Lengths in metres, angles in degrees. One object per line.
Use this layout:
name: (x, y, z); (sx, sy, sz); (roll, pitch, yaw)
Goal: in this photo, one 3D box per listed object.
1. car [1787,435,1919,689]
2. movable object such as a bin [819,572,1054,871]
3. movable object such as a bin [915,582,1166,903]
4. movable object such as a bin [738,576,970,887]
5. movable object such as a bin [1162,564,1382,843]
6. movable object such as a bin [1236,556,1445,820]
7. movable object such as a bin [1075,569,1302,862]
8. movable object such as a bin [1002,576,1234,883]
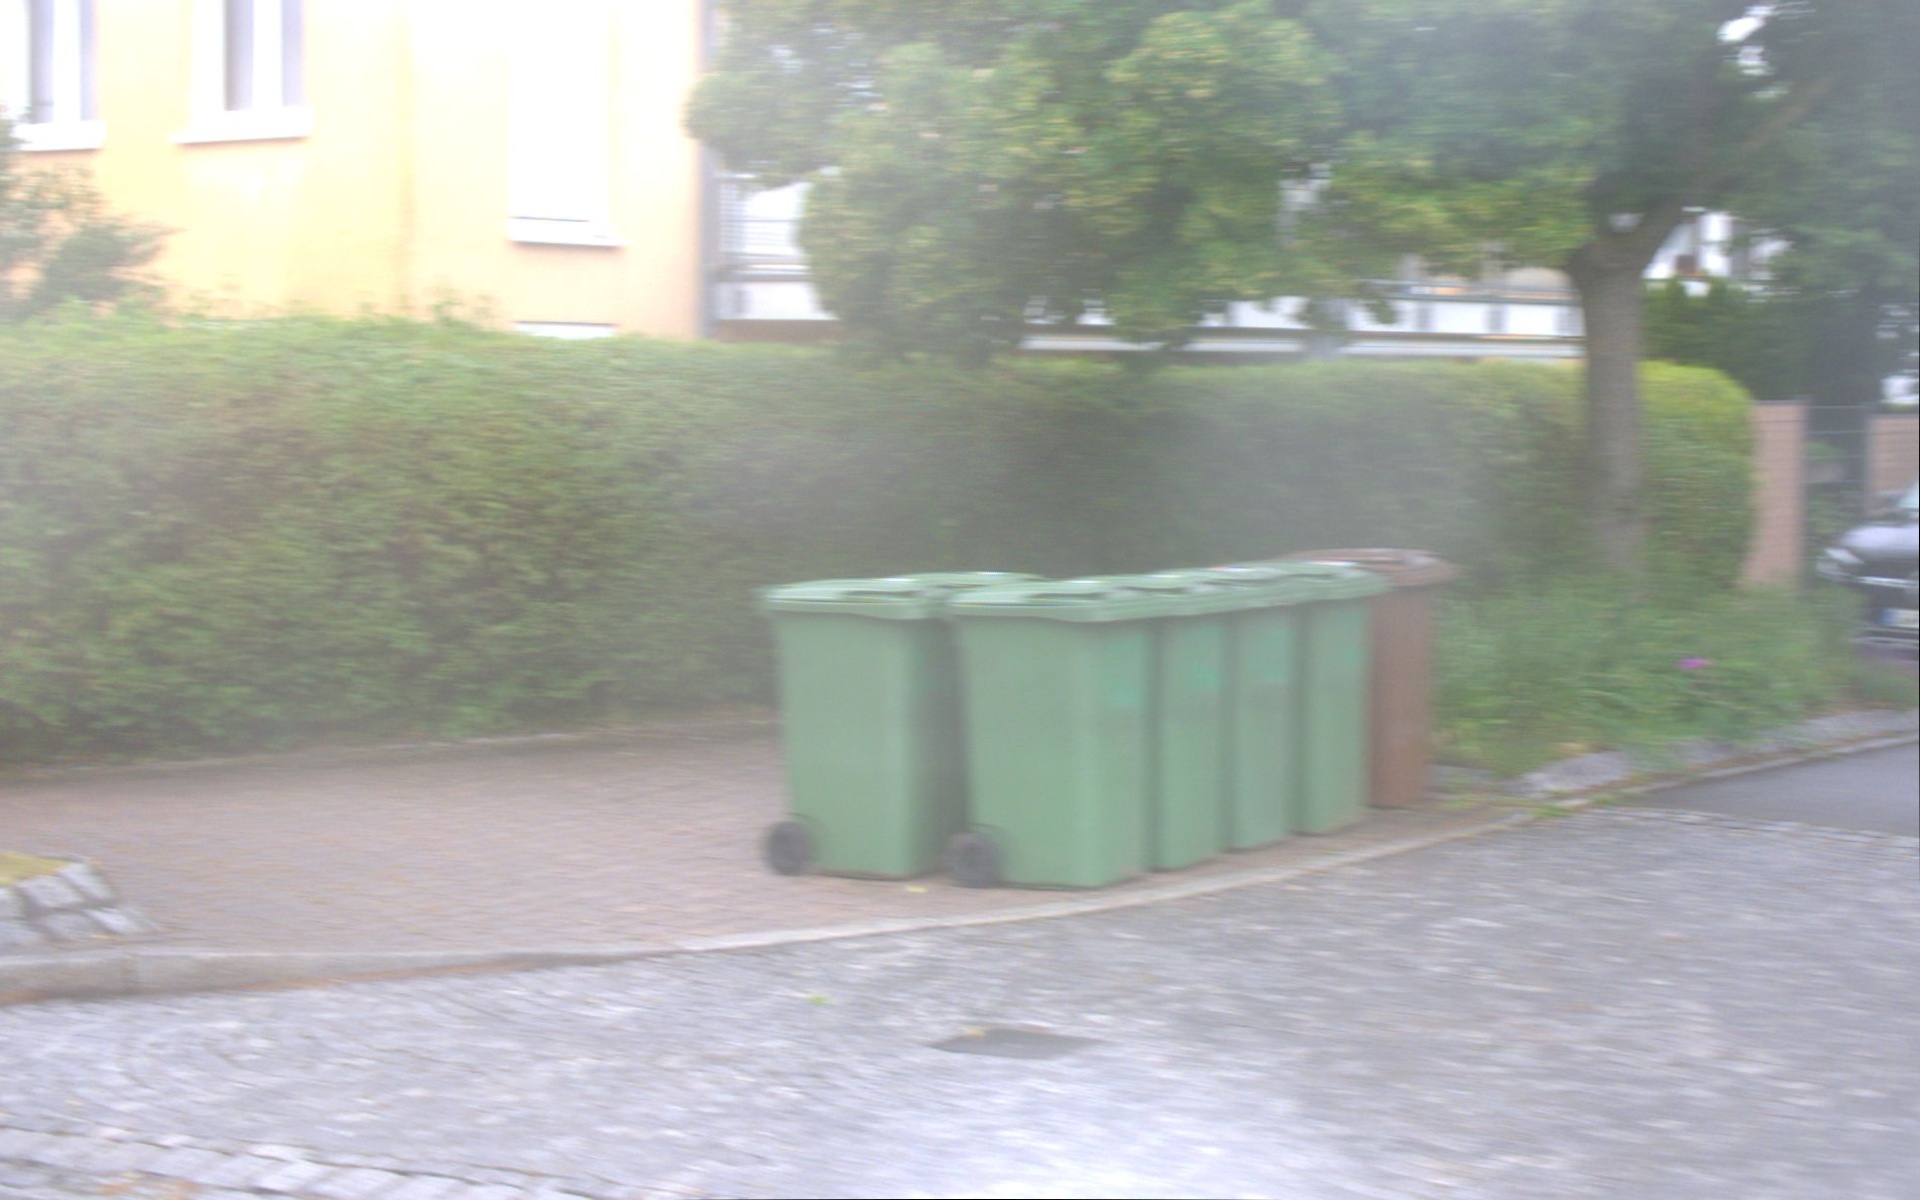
car: (7.118, -0.257, 22.621); (1.779, 1.513, 4.129); (5, 4, 35)
movable object such as a bin: (-0.086, 0.444, 13.096); (0.695, 1.068, 0.597); (2, 3, 28)
movable object such as a bin: (0.290, 0.489, 12.242); (0.695, 1.071, 0.601); (2, 3, 28)
movable object such as a bin: (-0.385, 0.465, 12.558); (0.666, 1.070, 0.543); (2, 3, 28)
movable object such as a bin: (1.253, 0.399, 13.792); (0.695, 1.051, 0.604); (2, 3, 28)
movable object such as a bin: (1.607, 0.356, 14.482); (0.695, 1.051, 0.604); (2, 3, 28)
movable object such as a bin: (0.883, 0.429, 13.274); (0.695, 1.063, 0.578); (2, 3, 28)
movable object such as a bin: (0.588, 0.463, 12.754); (0.695, 1.071, 0.543); (2, 3, 28)
